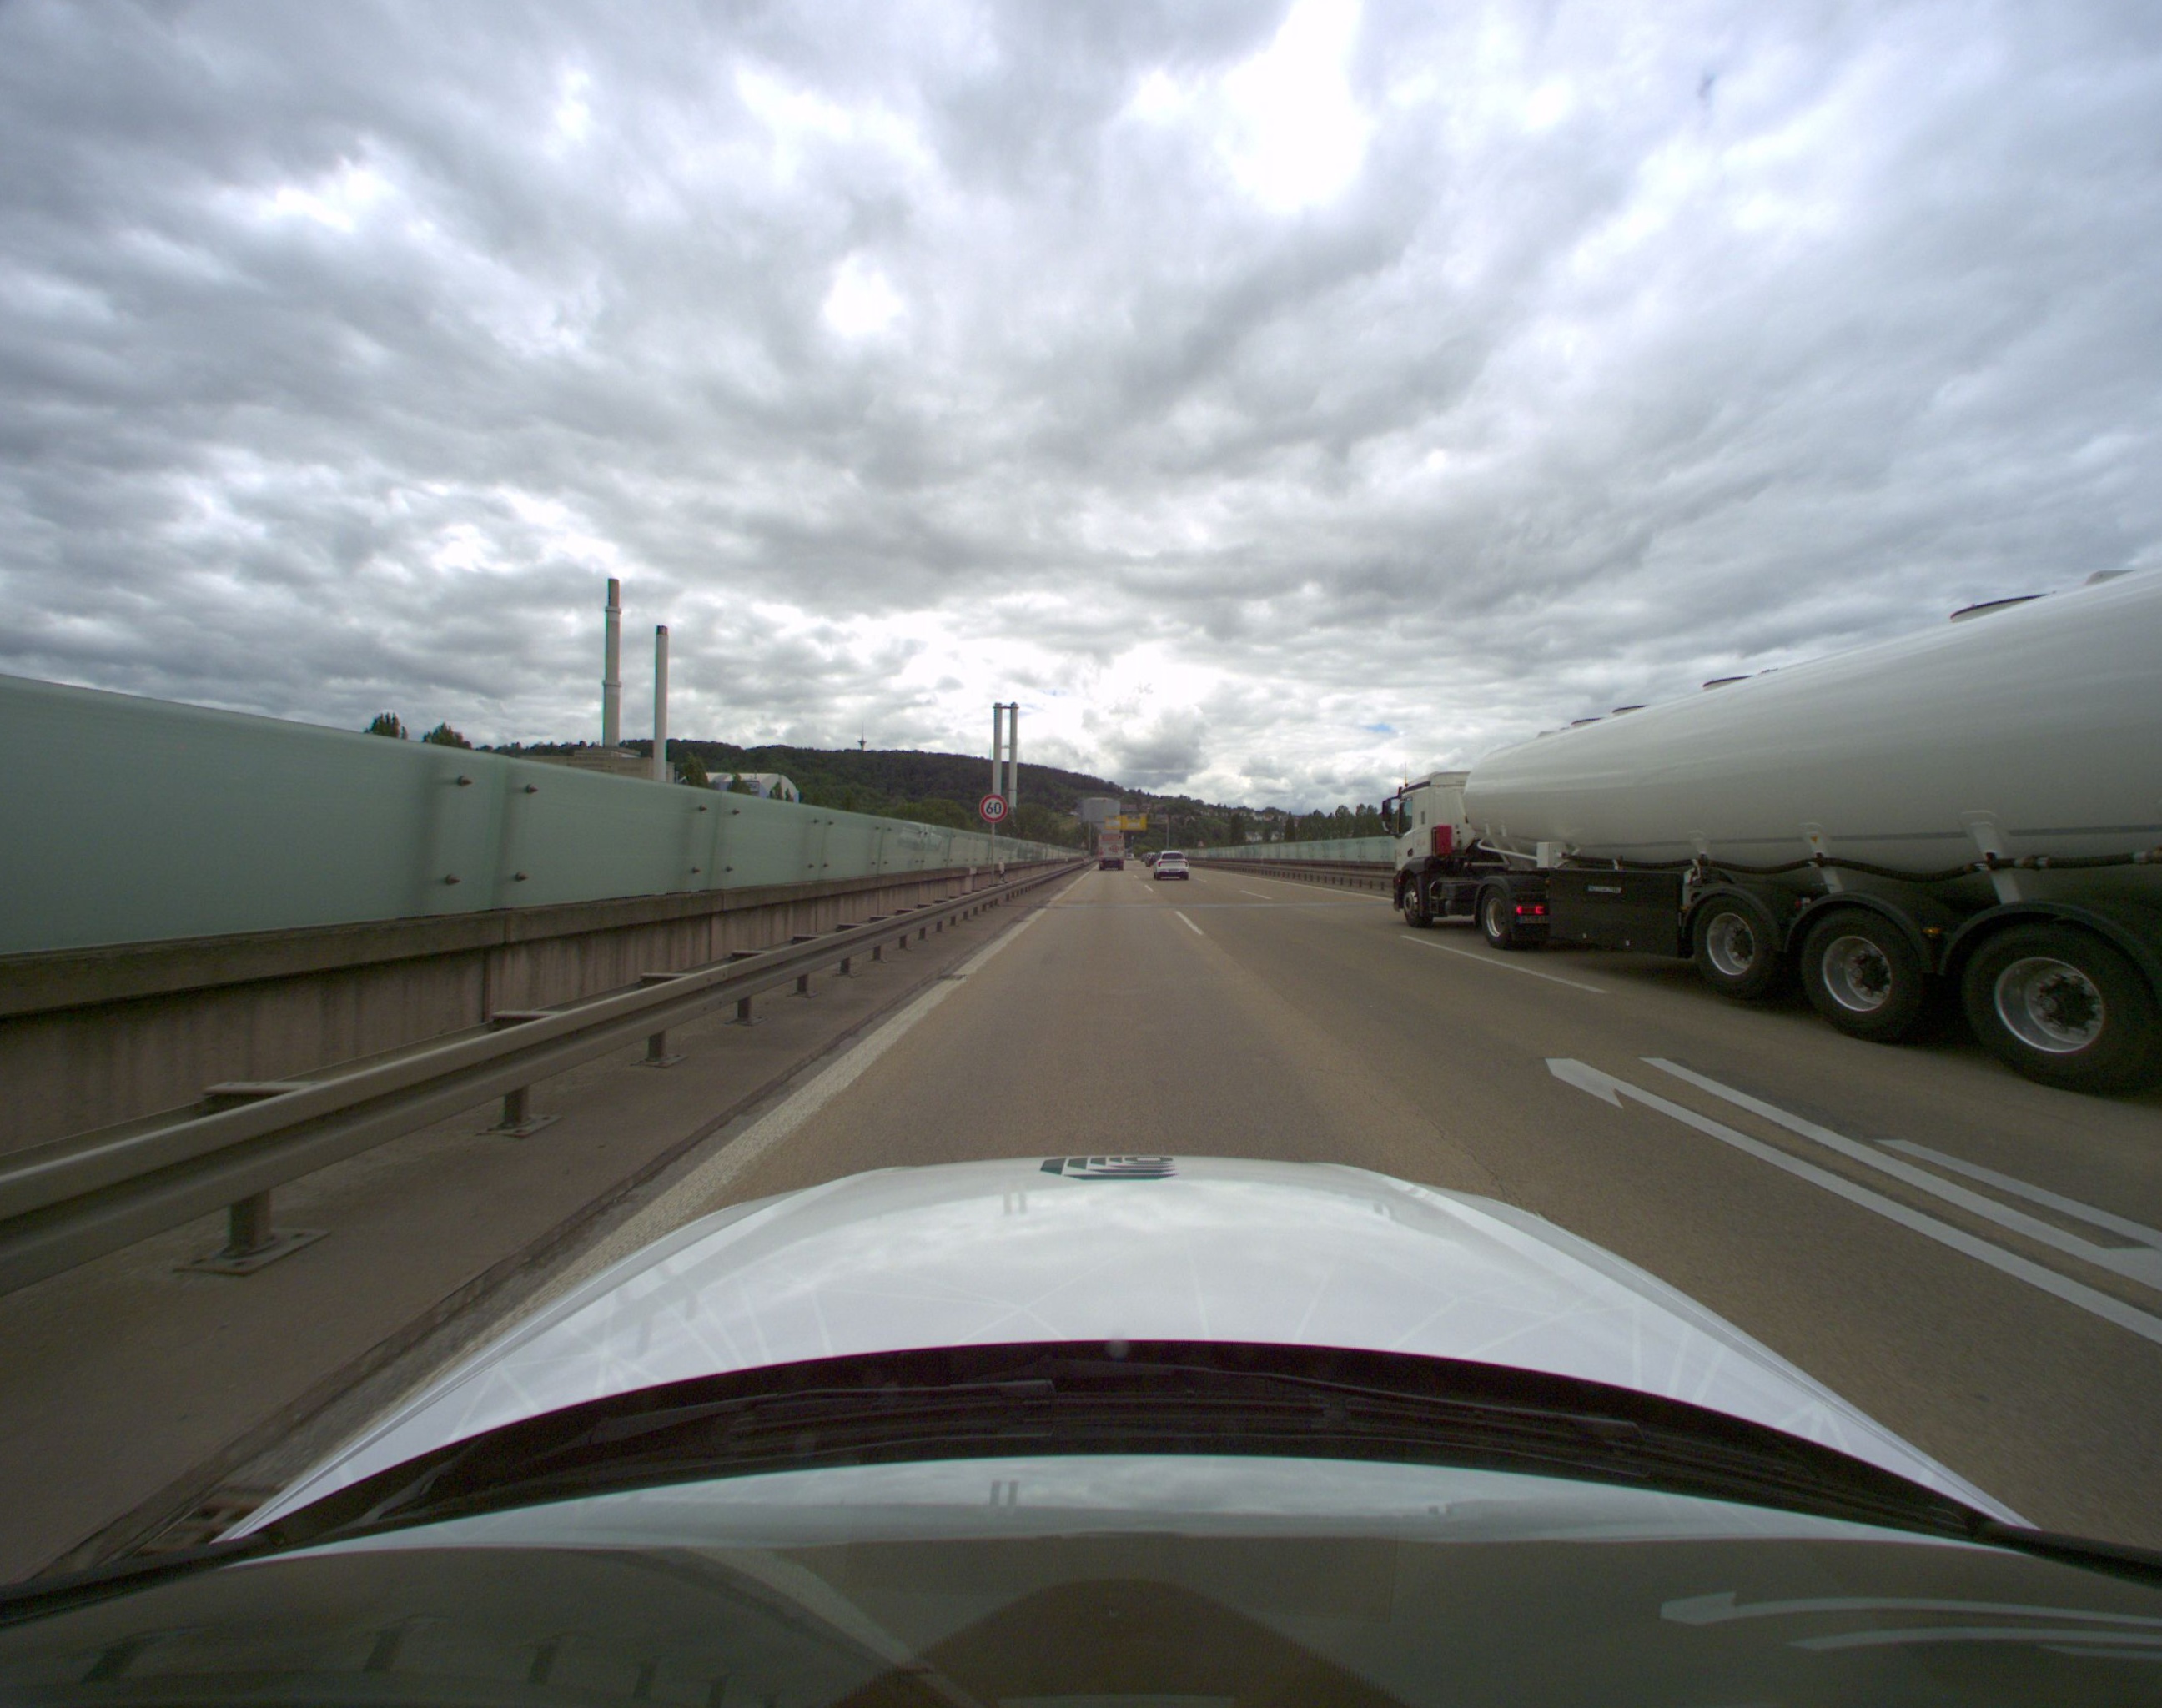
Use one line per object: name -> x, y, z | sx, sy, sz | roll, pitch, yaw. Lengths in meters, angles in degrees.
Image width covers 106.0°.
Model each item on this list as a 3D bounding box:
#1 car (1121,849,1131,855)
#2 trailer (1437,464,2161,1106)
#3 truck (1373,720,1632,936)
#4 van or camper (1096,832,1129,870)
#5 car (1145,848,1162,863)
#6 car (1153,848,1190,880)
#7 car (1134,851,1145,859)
car -> 13.244, -0.585, 239.482 | 2.457, 1.979, 5.176 | -1, 0, 11
trailer -> 7.494, -0.373, 8.981 | 2.639, 3.543, 11.227 | -1, 0, 2
truck -> 7.786, -0.420, 15.821 | 2.620, 3.514, 4.907 | -1, 0, 2
van or camper -> 3.235, -0.289, 81.093 | 3.109, 3.579, 8.557 | -1, 0, 3
car -> 8.888, 0.145, 99.793 | 1.916, 1.785, 4.116 | 0, 0, 3
car -> 5.271, 0.533, 48.106 | 1.916, 1.785, 4.116 | 0, 0, 3
car -> 11.069, 0.163, 152.912 | 1.914, 1.434, 4.119 | 0, 0, 5
